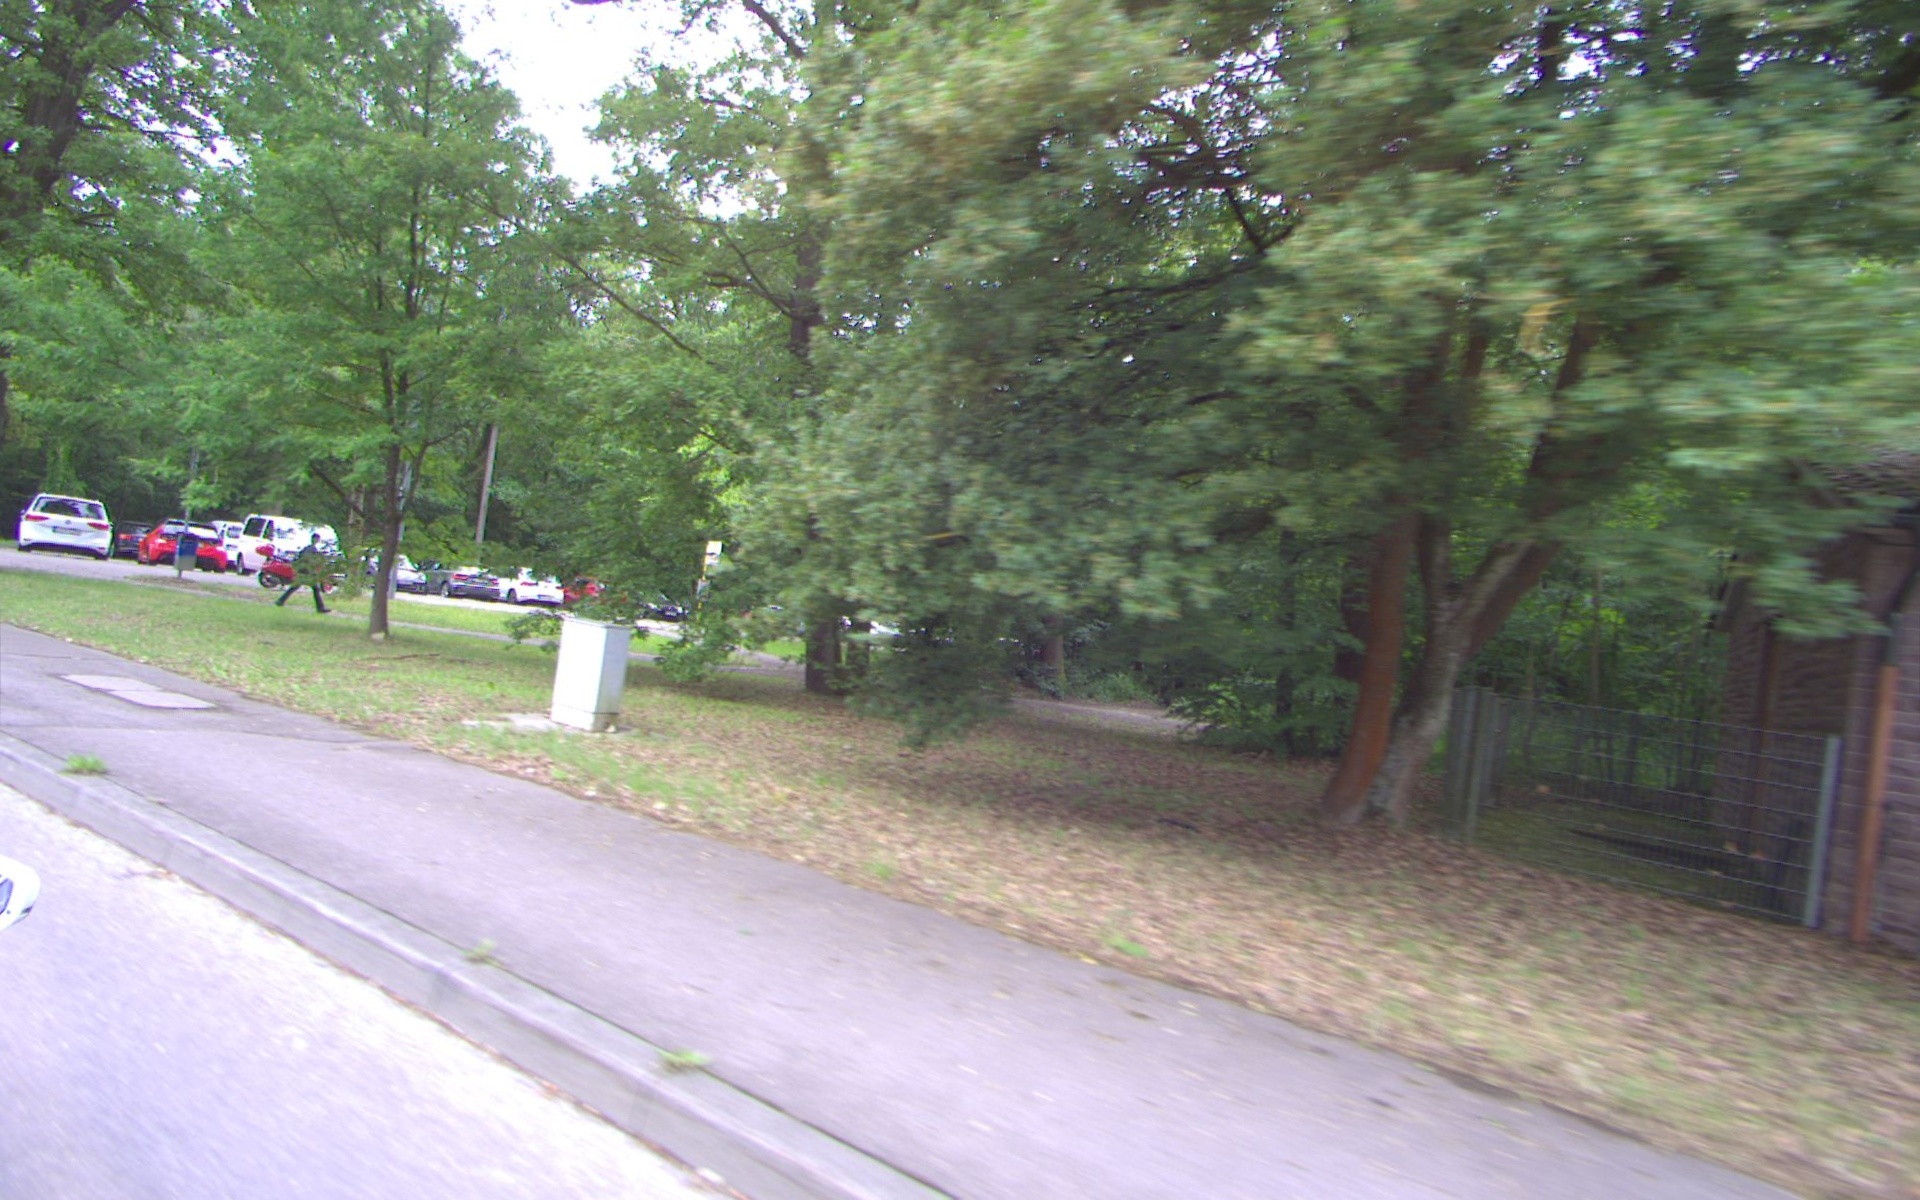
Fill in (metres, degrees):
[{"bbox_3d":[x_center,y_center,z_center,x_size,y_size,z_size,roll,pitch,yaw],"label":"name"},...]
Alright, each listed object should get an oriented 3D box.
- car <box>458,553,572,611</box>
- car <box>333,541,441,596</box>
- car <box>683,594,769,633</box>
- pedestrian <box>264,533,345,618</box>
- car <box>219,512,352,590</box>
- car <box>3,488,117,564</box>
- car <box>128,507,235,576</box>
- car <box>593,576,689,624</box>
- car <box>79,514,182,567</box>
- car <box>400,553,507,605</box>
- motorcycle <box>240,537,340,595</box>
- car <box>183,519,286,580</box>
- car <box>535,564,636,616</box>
[{"bbox_3d":[-16.191,-0.682,36.543,4.466,1.575,1.837,6,-2,39],"label":"car"},{"bbox_3d":[-18.742,-1.053,32.847,3.879,1.343,1.715,6,-2,40],"label":"car"},{"bbox_3d":[-10.455,0.589,44.923,3.717,1.281,1.616,6,-2,36],"label":"car"},{"bbox_3d":[-14.233,-0.520,21.861,1.016,1.670,0.834,7,-1,8],"label":"pedestrian"},{"bbox_3d":[-20.821,-1.499,30.975,5.114,1.979,2.054,3,-4,42],"label":"car"},{"bbox_3d":[-24.011,-1.962,26.779,1.989,1.570,4.366,9,-3,-44],"label":"car"},{"bbox_3d":[-22.254,-1.696,28.710,1.884,1.570,3.951,9,-2,-44],"label":"car"},{"bbox_3d":[-12.840,-0.021,40.434,4.012,1.474,1.757,6,-2,42],"label":"car"},{"bbox_3d":[-30.222,-2.178,36.616,3.788,1.436,1.817,6,-2,34],"label":"car"},{"bbox_3d":[-17.473,-0.734,34.631,4.073,1.340,1.812,6,-2,42],"label":"car"},{"bbox_3d":[-17.309,-0.861,26.029,0.582,1.218,1.952,6,-2,37],"label":"motorcycle"},{"bbox_3d":[-28.089,-1.979,38.867,4.880,1.900,1.992,6,-2,41],"label":"car"},{"bbox_3d":[-14.382,-0.384,38.528,4.143,1.512,1.812,6,-2,42],"label":"car"}]
